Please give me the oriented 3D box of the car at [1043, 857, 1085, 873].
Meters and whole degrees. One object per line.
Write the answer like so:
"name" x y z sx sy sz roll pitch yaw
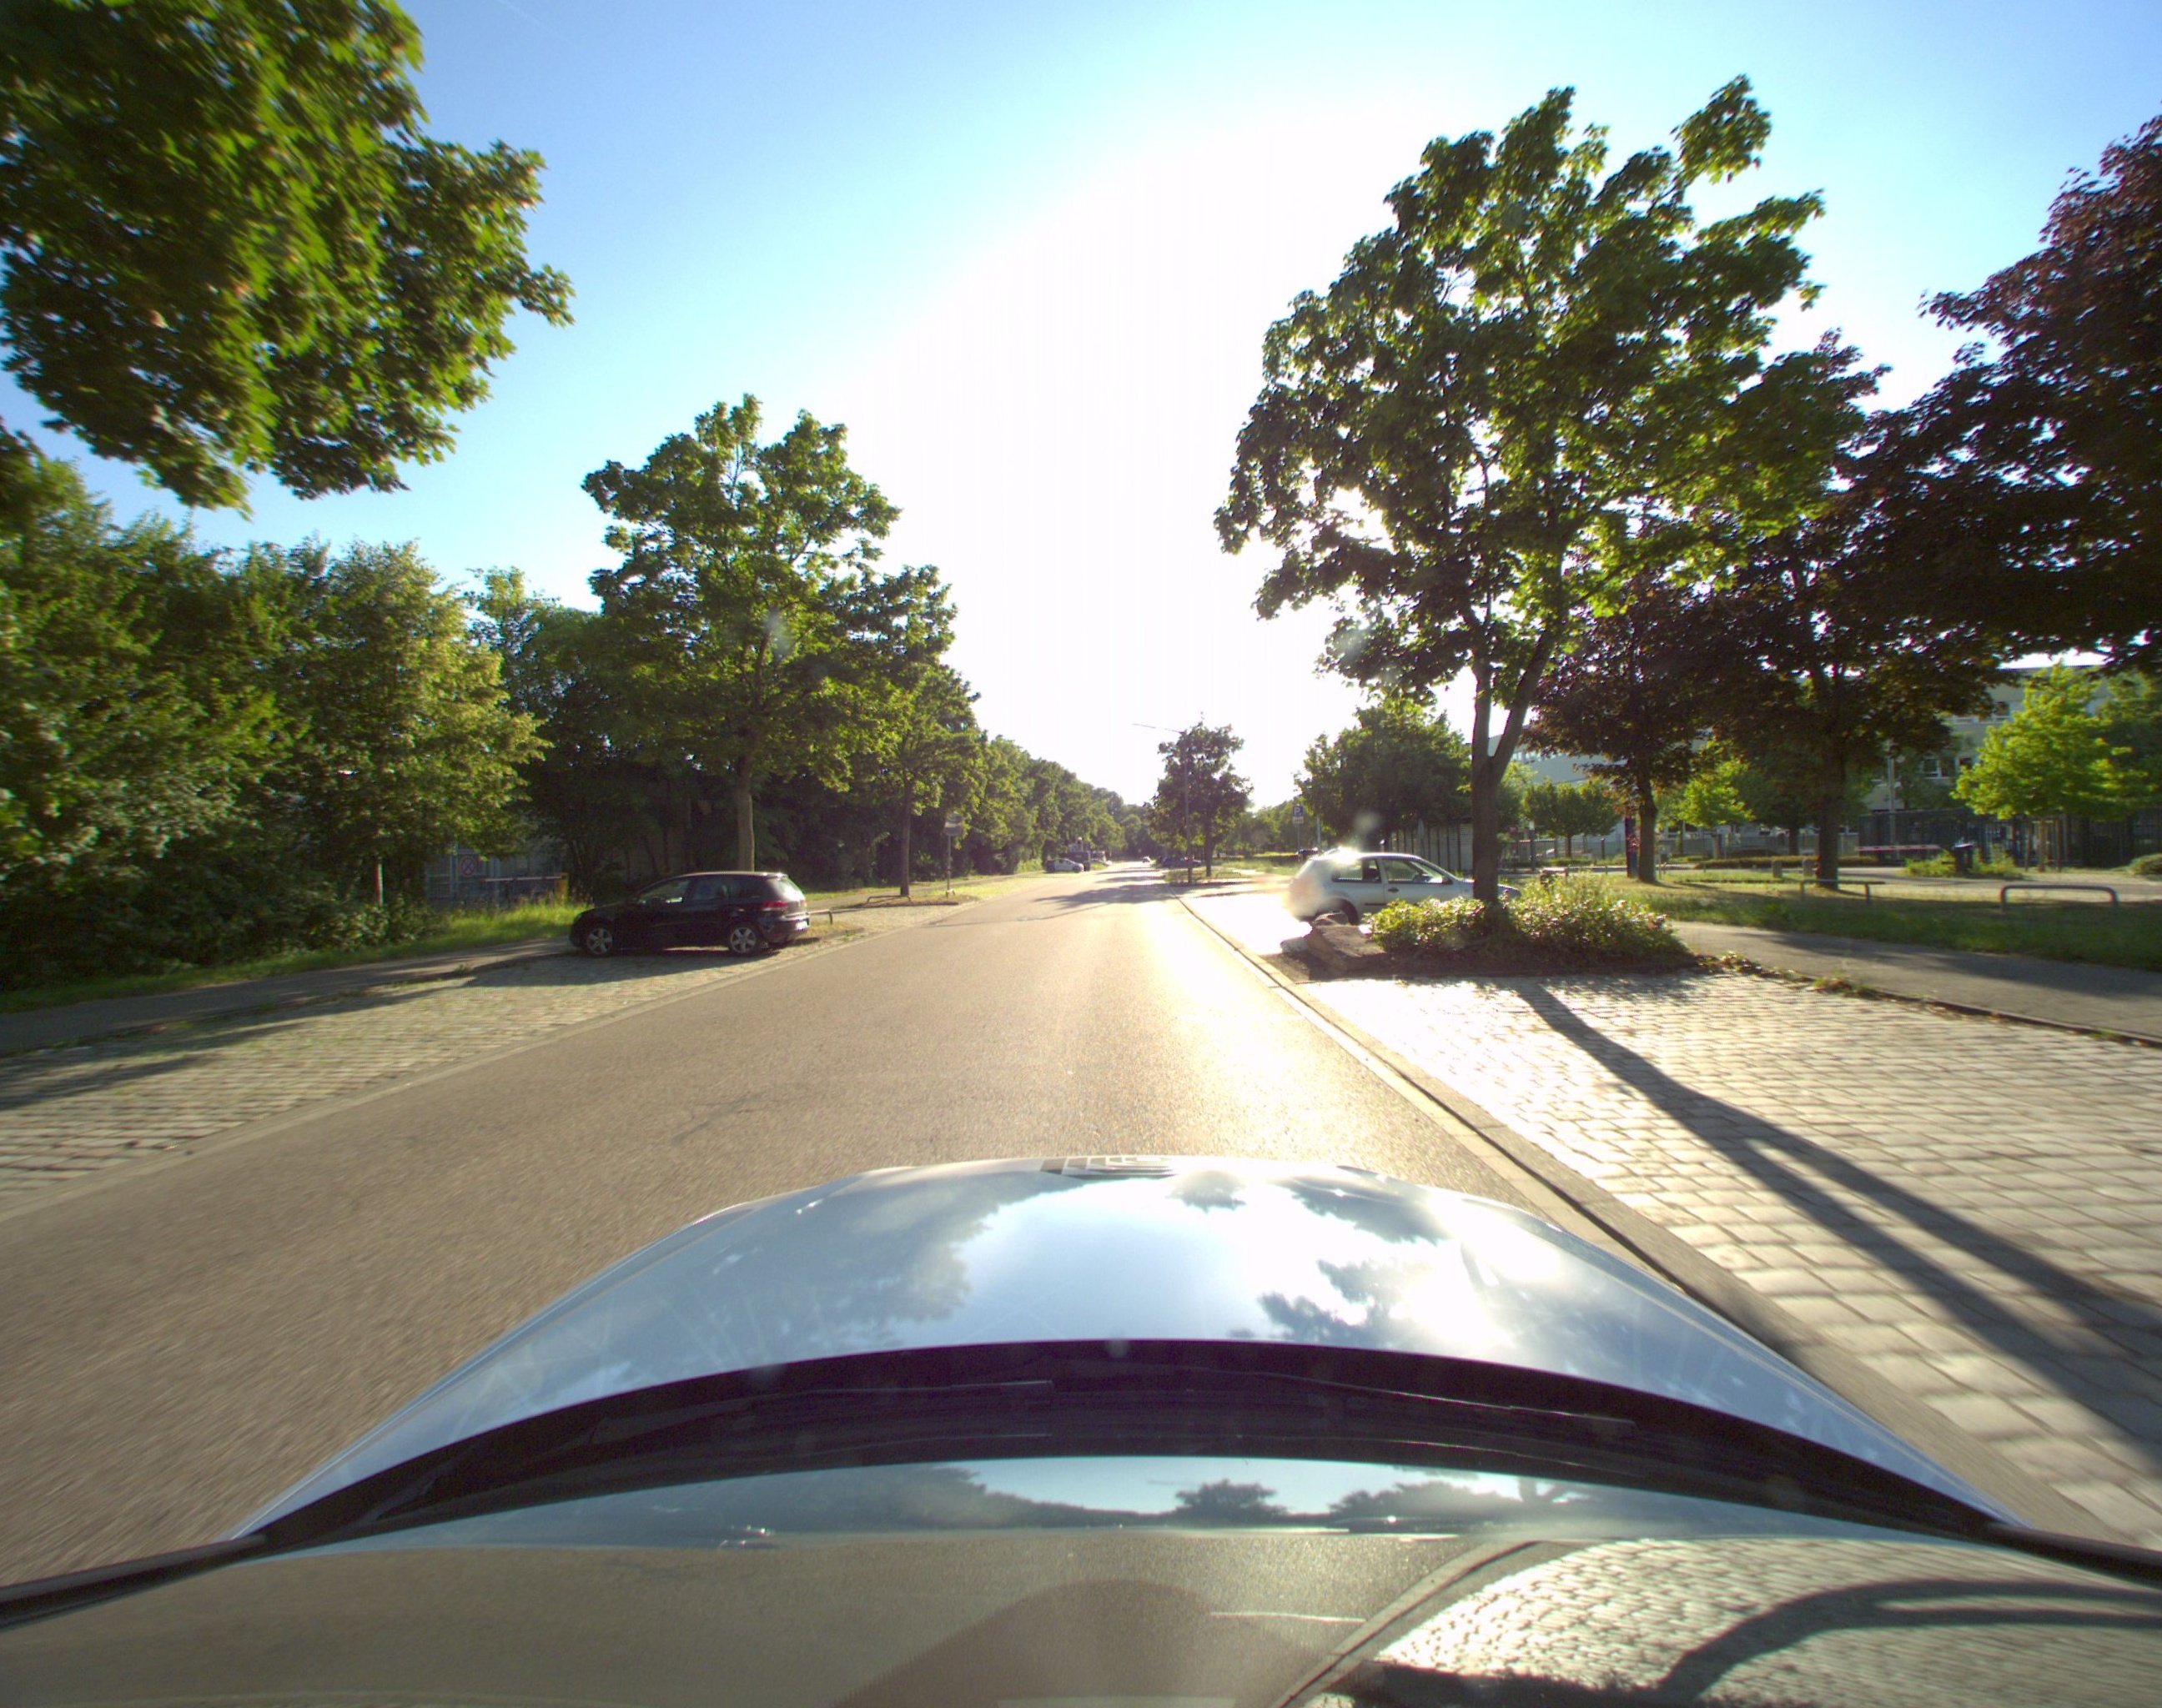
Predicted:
"car" -1.833 1.185 88.443 4.337 1.547 2.003 -2 0 5

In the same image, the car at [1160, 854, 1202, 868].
"car" 11.887 0.879 96.909 4.818 1.479 2.003 -2 0 5

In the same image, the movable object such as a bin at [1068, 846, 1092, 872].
"movable object such as a bin" -0.124 0.565 101.048 2.829 3.069 4.926 -2 0 0

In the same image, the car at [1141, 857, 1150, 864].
"car" 16.804 1.683 212.515 1.986 1.904 4.002 -2 0 2

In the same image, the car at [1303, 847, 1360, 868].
"car" 21.893 0.285 71.239 4.411 1.706 2.061 -2 0 3

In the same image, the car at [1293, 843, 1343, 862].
"car" 22.933 -0.129 78.790 4.337 1.705 2.003 -2 0 5

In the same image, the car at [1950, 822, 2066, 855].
"car" 46.724 -0.754 41.173 1.610 1.530 3.831 -2 0 4

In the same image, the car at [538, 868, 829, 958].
"car" -7.146 1.031 15.003 4.343 1.479 2.001 0 0 1

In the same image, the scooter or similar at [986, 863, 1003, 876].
"scooter or similar" -7.851 1.396 73.982 0.570 1.145 1.594 -3 -1 44

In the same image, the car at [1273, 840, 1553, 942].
"car" 5.789 0.648 14.787 4.330 1.479 2.006 -4 -1 11

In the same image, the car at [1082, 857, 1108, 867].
"car" 2.378 1.371 141.254 4.347 1.479 1.998 -2 0 -3

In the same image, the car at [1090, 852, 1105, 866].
"car" 3.080 0.927 150.812 2.510 2.386 4.369 -2 0 -2
